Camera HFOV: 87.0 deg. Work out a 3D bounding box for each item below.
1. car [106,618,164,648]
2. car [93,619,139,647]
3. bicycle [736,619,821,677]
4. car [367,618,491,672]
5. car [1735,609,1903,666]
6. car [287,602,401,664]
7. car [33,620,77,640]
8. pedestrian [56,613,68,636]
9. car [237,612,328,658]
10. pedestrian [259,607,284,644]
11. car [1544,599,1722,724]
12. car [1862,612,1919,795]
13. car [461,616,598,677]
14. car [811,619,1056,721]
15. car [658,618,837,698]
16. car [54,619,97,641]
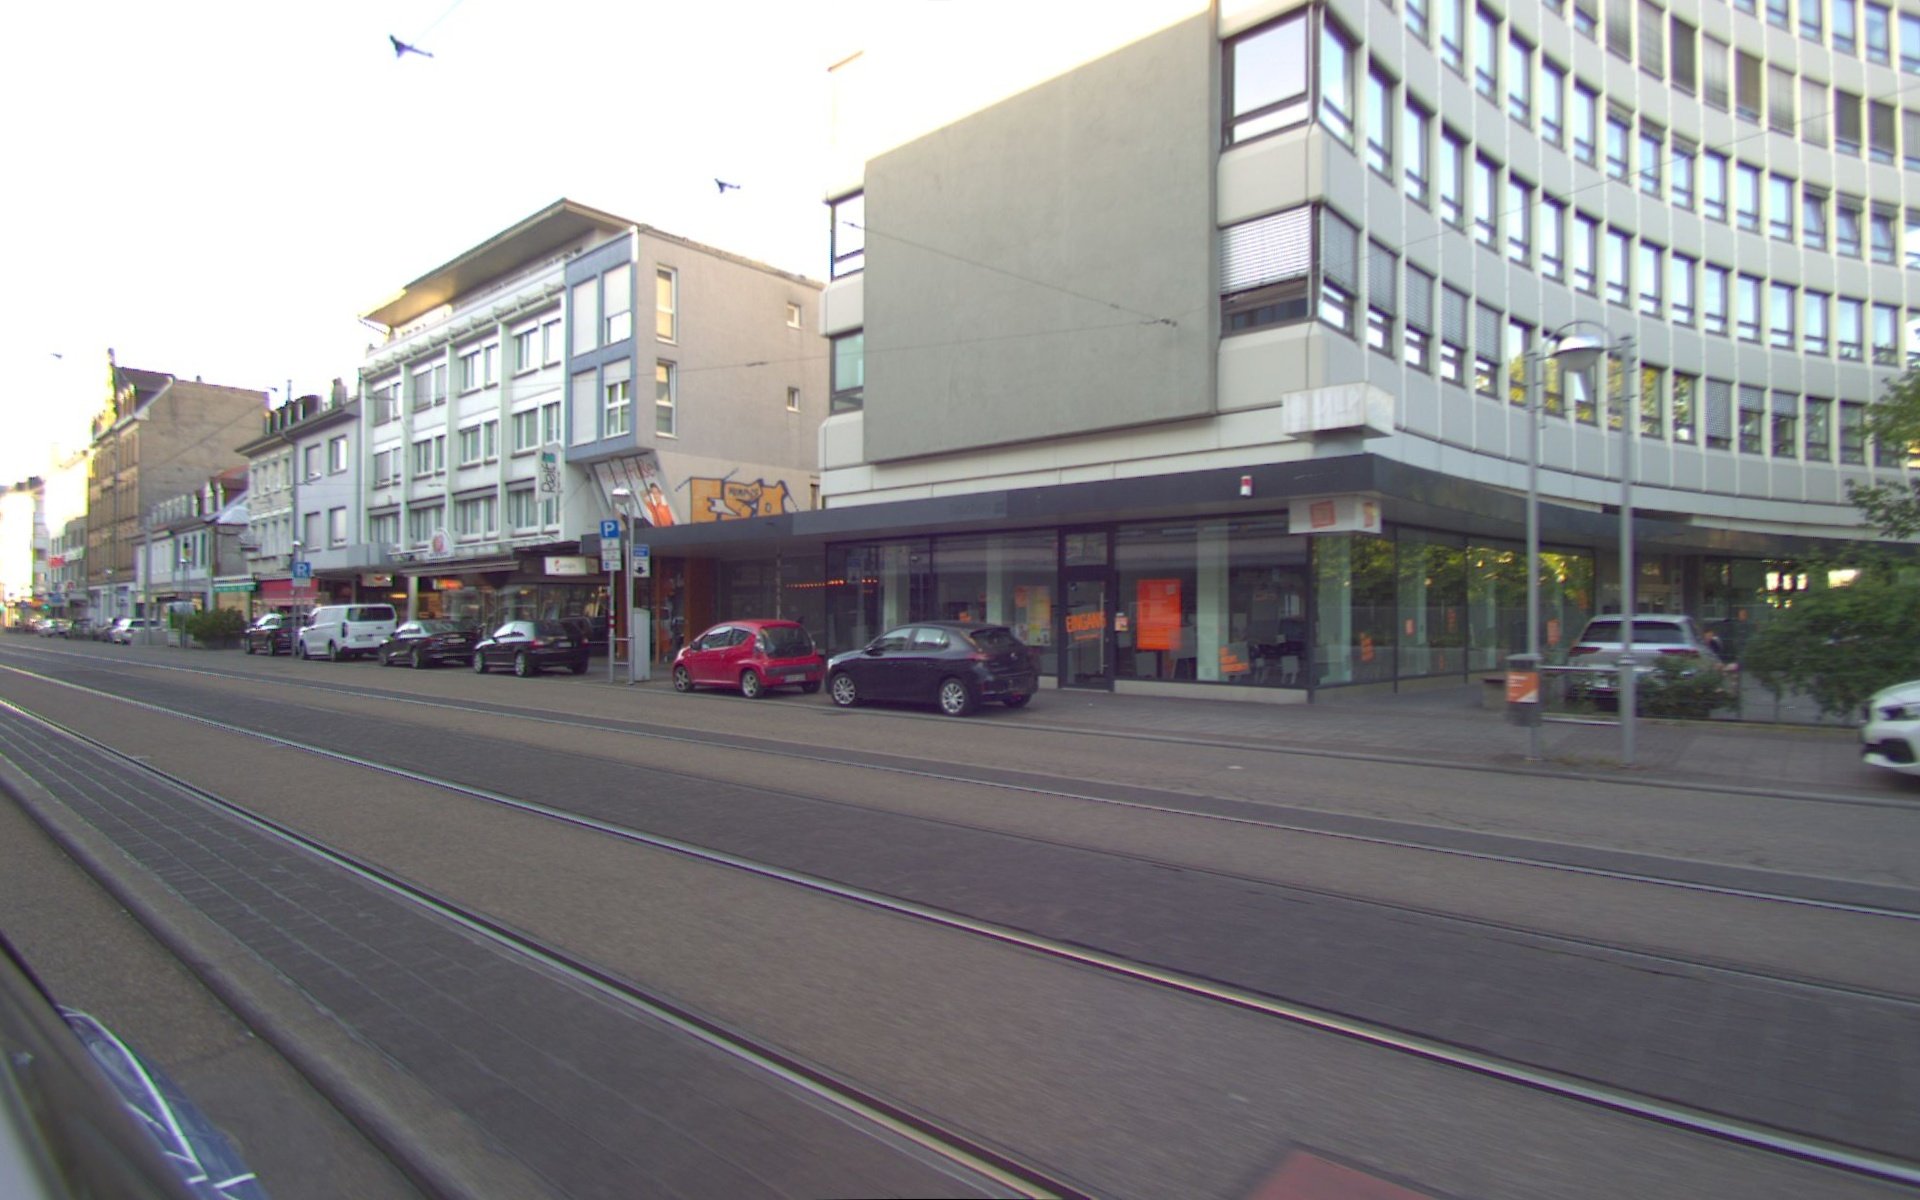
[{"bbox_3d":[-48.019,1.896,58.871,4.621,1.568,1.871,0,1,42],"label":"car"},{"bbox_3d":[-51.738,1.998,62.007,3.469,1.582,1.638,0,1,42],"label":"car"},{"bbox_3d":[-4.635,1.203,25.946,0.875,1.350,2.025,-1,1,41],"label":"bicycle"},{"bbox_3d":[-16.341,1.315,31.025,4.569,1.437,1.852,0,1,41],"label":"car"},{"bbox_3d":[23.809,1.001,28.066,3.931,1.410,1.748,-1,1,-19],"label":"car"},{"bbox_3d":[-22.033,1.106,36.109,5.096,2.029,1.944,0,1,40],"label":"car"},{"bbox_3d":[-72.315,2.399,80.839,4.399,1.431,1.974,0,1,39],"label":"car"},{"bbox_3d":[-81.801,2.225,92.169,0.738,2.029,1.050,-1,1,-44],"label":"pedestrian"},{"bbox_3d":[-27.616,1.362,41.199,4.586,1.710,1.973,0,1,41],"label":"car"},{"bbox_3d":[-33.912,1.249,49.829,0.818,1.795,0.809,-1,1,41],"label":"pedestrian"},{"bbox_3d":[10.335,0.806,15.413,1.912,1.564,3.948,-1,1,39],"label":"car"},{"bbox_3d":[9.882,0.837,7.814,4.281,1.464,1.703,-1,0,41],"label":"car"},{"bbox_3d":[-11.348,1.172,26.572,4.090,1.472,1.771,-1,-2,42],"label":"car"},{"bbox_3d":[-0.525,1.068,16.788,3.963,1.436,1.674,-1,1,41],"label":"car"},{"bbox_3d":[-4.284,1.086,20.169,3.590,1.445,1.674,-1,-1,41],"label":"car"},{"bbox_3d":[-63.446,2.136,72.592,3.815,1.504,1.822,0,1,42],"label":"car"}]
